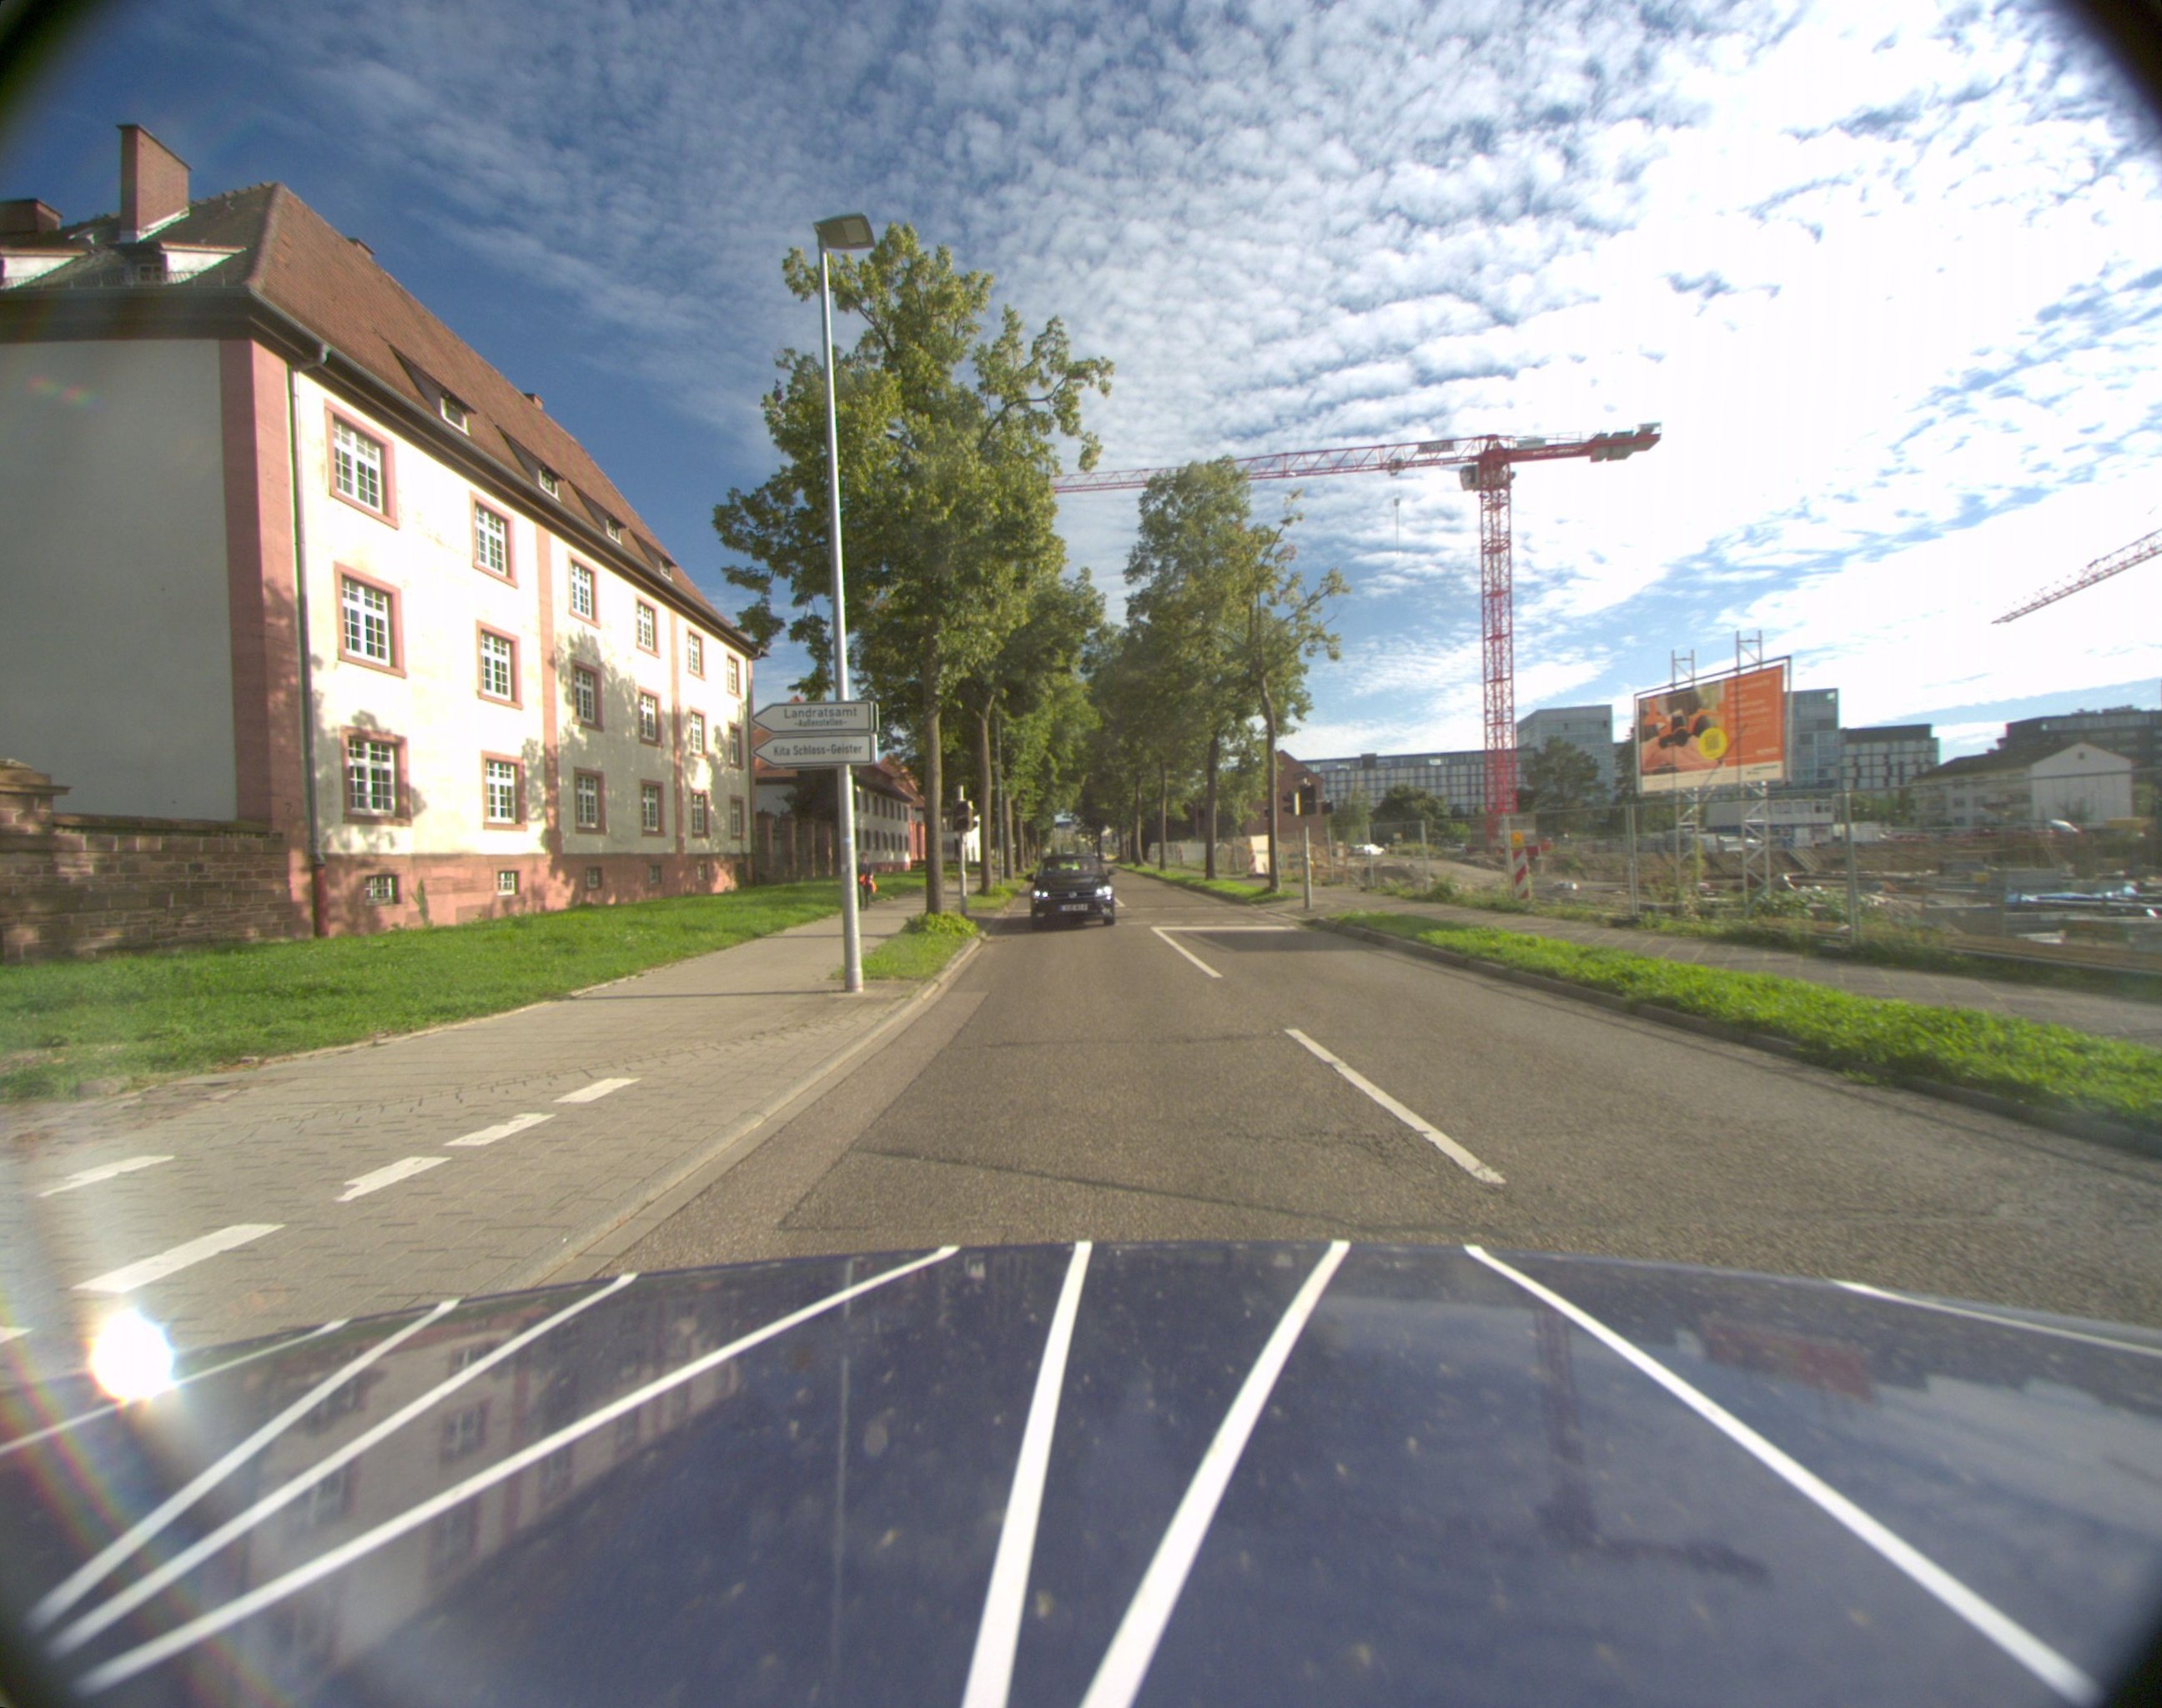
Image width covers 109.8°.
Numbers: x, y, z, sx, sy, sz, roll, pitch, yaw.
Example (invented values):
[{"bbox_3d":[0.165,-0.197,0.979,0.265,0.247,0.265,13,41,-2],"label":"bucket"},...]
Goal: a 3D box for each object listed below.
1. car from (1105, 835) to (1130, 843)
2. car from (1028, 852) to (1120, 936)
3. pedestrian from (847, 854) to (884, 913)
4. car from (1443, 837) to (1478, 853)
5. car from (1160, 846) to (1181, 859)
[{"bbox_3d":[9.117,-3.710,190.541,6.235,1.856,2.482,-2,2,45],"label":"car"},{"bbox_3d":[-0.153,0.820,17.834,1.821,1.648,4.242,-3,0,0],"label":"car"},{"bbox_3d":[-5.925,0.787,20.891,0.816,1.581,0.769,1,1,-3],"label":"pedestrian"},{"bbox_3d":[45.489,-1.078,91.059,1.818,1.797,3.981,-3,2,-7],"label":"car"},{"bbox_3d":[10.818,-0.202,92.138,1.998,1.421,4.506,-1,2,0],"label":"car"}]
